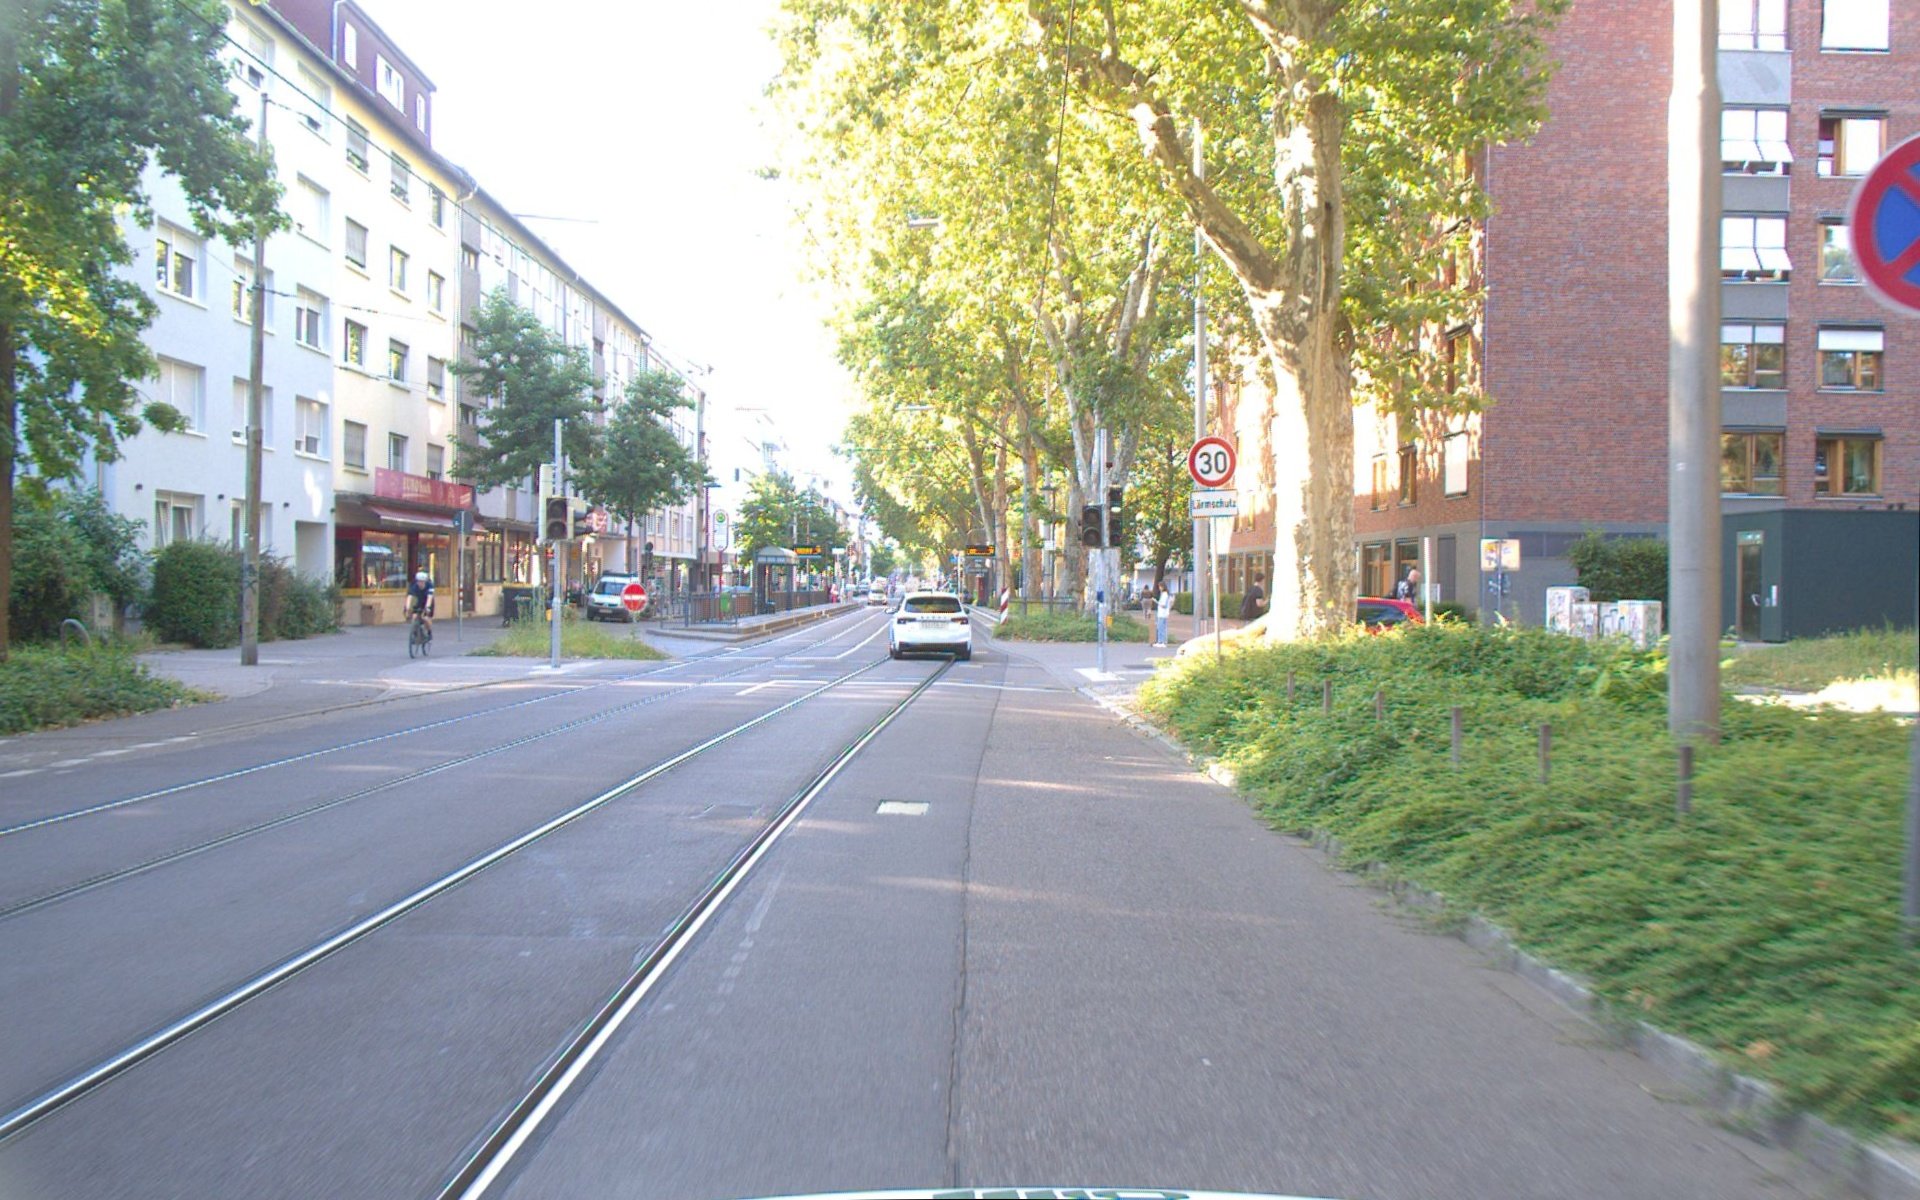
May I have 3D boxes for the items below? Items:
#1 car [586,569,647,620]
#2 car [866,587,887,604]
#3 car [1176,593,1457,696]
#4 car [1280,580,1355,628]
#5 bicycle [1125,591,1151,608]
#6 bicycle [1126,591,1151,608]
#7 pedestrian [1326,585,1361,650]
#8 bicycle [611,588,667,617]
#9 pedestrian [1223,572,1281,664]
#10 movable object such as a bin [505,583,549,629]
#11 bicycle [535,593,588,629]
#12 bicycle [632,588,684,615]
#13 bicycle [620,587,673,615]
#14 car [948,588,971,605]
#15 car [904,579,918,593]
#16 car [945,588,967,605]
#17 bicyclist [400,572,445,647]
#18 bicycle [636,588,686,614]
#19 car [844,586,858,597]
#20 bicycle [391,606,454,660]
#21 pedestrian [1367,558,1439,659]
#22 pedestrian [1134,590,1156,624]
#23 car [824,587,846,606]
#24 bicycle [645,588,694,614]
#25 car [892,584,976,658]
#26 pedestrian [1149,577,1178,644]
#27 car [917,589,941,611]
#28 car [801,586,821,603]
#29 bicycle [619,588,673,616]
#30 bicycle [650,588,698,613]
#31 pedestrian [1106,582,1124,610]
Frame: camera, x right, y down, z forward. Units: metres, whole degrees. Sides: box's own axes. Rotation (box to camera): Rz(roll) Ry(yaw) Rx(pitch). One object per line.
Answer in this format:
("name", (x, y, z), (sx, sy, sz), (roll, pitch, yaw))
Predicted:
("car", (-13.531, -0.226, 65.368), (1.654, 1.974, 3.999), (0, 0, -1))
("car", (-7.322, -0.378, 145.274), (1.659, 1.444, 3.999), (0, 1, -1))
("car", (5.157, 0.624, 24.260), (3.804, 1.448, 1.649), (0, 0, 2))
("car", (11.668, 0.103, 54.113), (1.568, 1.521, 3.415), (0, 0, -3))
("bicycle", (11.199, -0.012, 104.150), (1.533, 1.055, 0.479), (0, 0, 20))
("bicycle", (11.342, -0.015, 105.069), (1.533, 1.055, 0.504), (0, 0, 20))
("pedestrian", (10.191, 0.454, 43.932), (0.721, 1.698, 0.834), (0, 0, -2))
("bicycle", (-13.838, 0.093, 71.268), (2.207, 1.092, 0.636), (4, 0, 0))
("pedestrian", (5.955, 0.351, 33.772), (0.975, 1.842, 0.863), (0, 0, -7))
("movable object such as a bin", (-13.626, 0.188, 52.053), (1.147, 1.372, 0.782), (4, 0, -6))
("bicycle", (-13.038, 0.355, 54.141), (1.503, 1.093, 0.885), (3, 0, -2))
("bicycle", (-13.978, 0.052, 76.610), (2.207, 1.092, 0.636), (4, 0, 0))
("bicycle", (-14.137, 0.044, 74.554), (2.207, 1.092, 0.636), (4, 0, 0))
("car", (-0.084, -0.294, 146.837), (1.953, 1.478, 3.999), (0, 1, -1))
("car", (-6.980, -2.004, 235.754), (1.828, 1.925, 3.999), (0, 1, -1))
("car", (-0.380, -0.327, 151.916), (1.953, 1.478, 3.999), (0, 1, -1))
("bicyclist", (-10.747, 0.177, 33.083), (0.628, 1.480, 0.837), (0, 0, -2))
("bicycle", (-14.166, 0.040, 78.352), (2.207, 1.092, 0.636), (4, 0, 0))
("car", (-15.800, -1.293, 239.815), (1.752, 1.540, 3.999), (0, 1, -1))
("bicycle", (-10.736, 0.641, 33.076), (0.628, 1.004, 2.100), (0, 1, -2))
("pedestrian", (8.692, 0.155, 32.490), (0.964, 1.896, 1.014), (-3, 1, -7))
("pedestrian", (9.019, 0.326, 80.720), (0.952, 1.652, 0.887), (0, 0, -2))
("car", (-10.904, -0.329, 144.080), (1.644, 1.575, 3.999), (3, 0, -2))
("bicycle", (-14.064, 0.045, 80.186), (2.207, 1.092, 0.636), (4, 0, 0))
("car", (-0.587, 0.410, 36.547), (1.752, 1.540, 3.999), (0, 1, -1))
("pedestrian", (5.206, 0.255, 42.297), (0.639, 1.698, 0.738), (0, 0, -2))
("car", (-2.321, -0.014, 124.408), (1.752, 1.540, 3.999), (0, 1, -1))
("car", (-14.803, -0.550, 164.070), (1.644, 1.575, 3.999), (3, 0, -2))
("bicycle", (-13.830, 0.096, 72.916), (2.207, 1.092, 0.636), (4, 0, 0))
("bicycle", (-14.170, 0.031, 81.887), (2.207, 1.092, 0.636), (4, 0, 0))
("pedestrian", (9.221, -0.265, 98.492), (0.952, 1.652, 0.887), (0, 0, -2))
